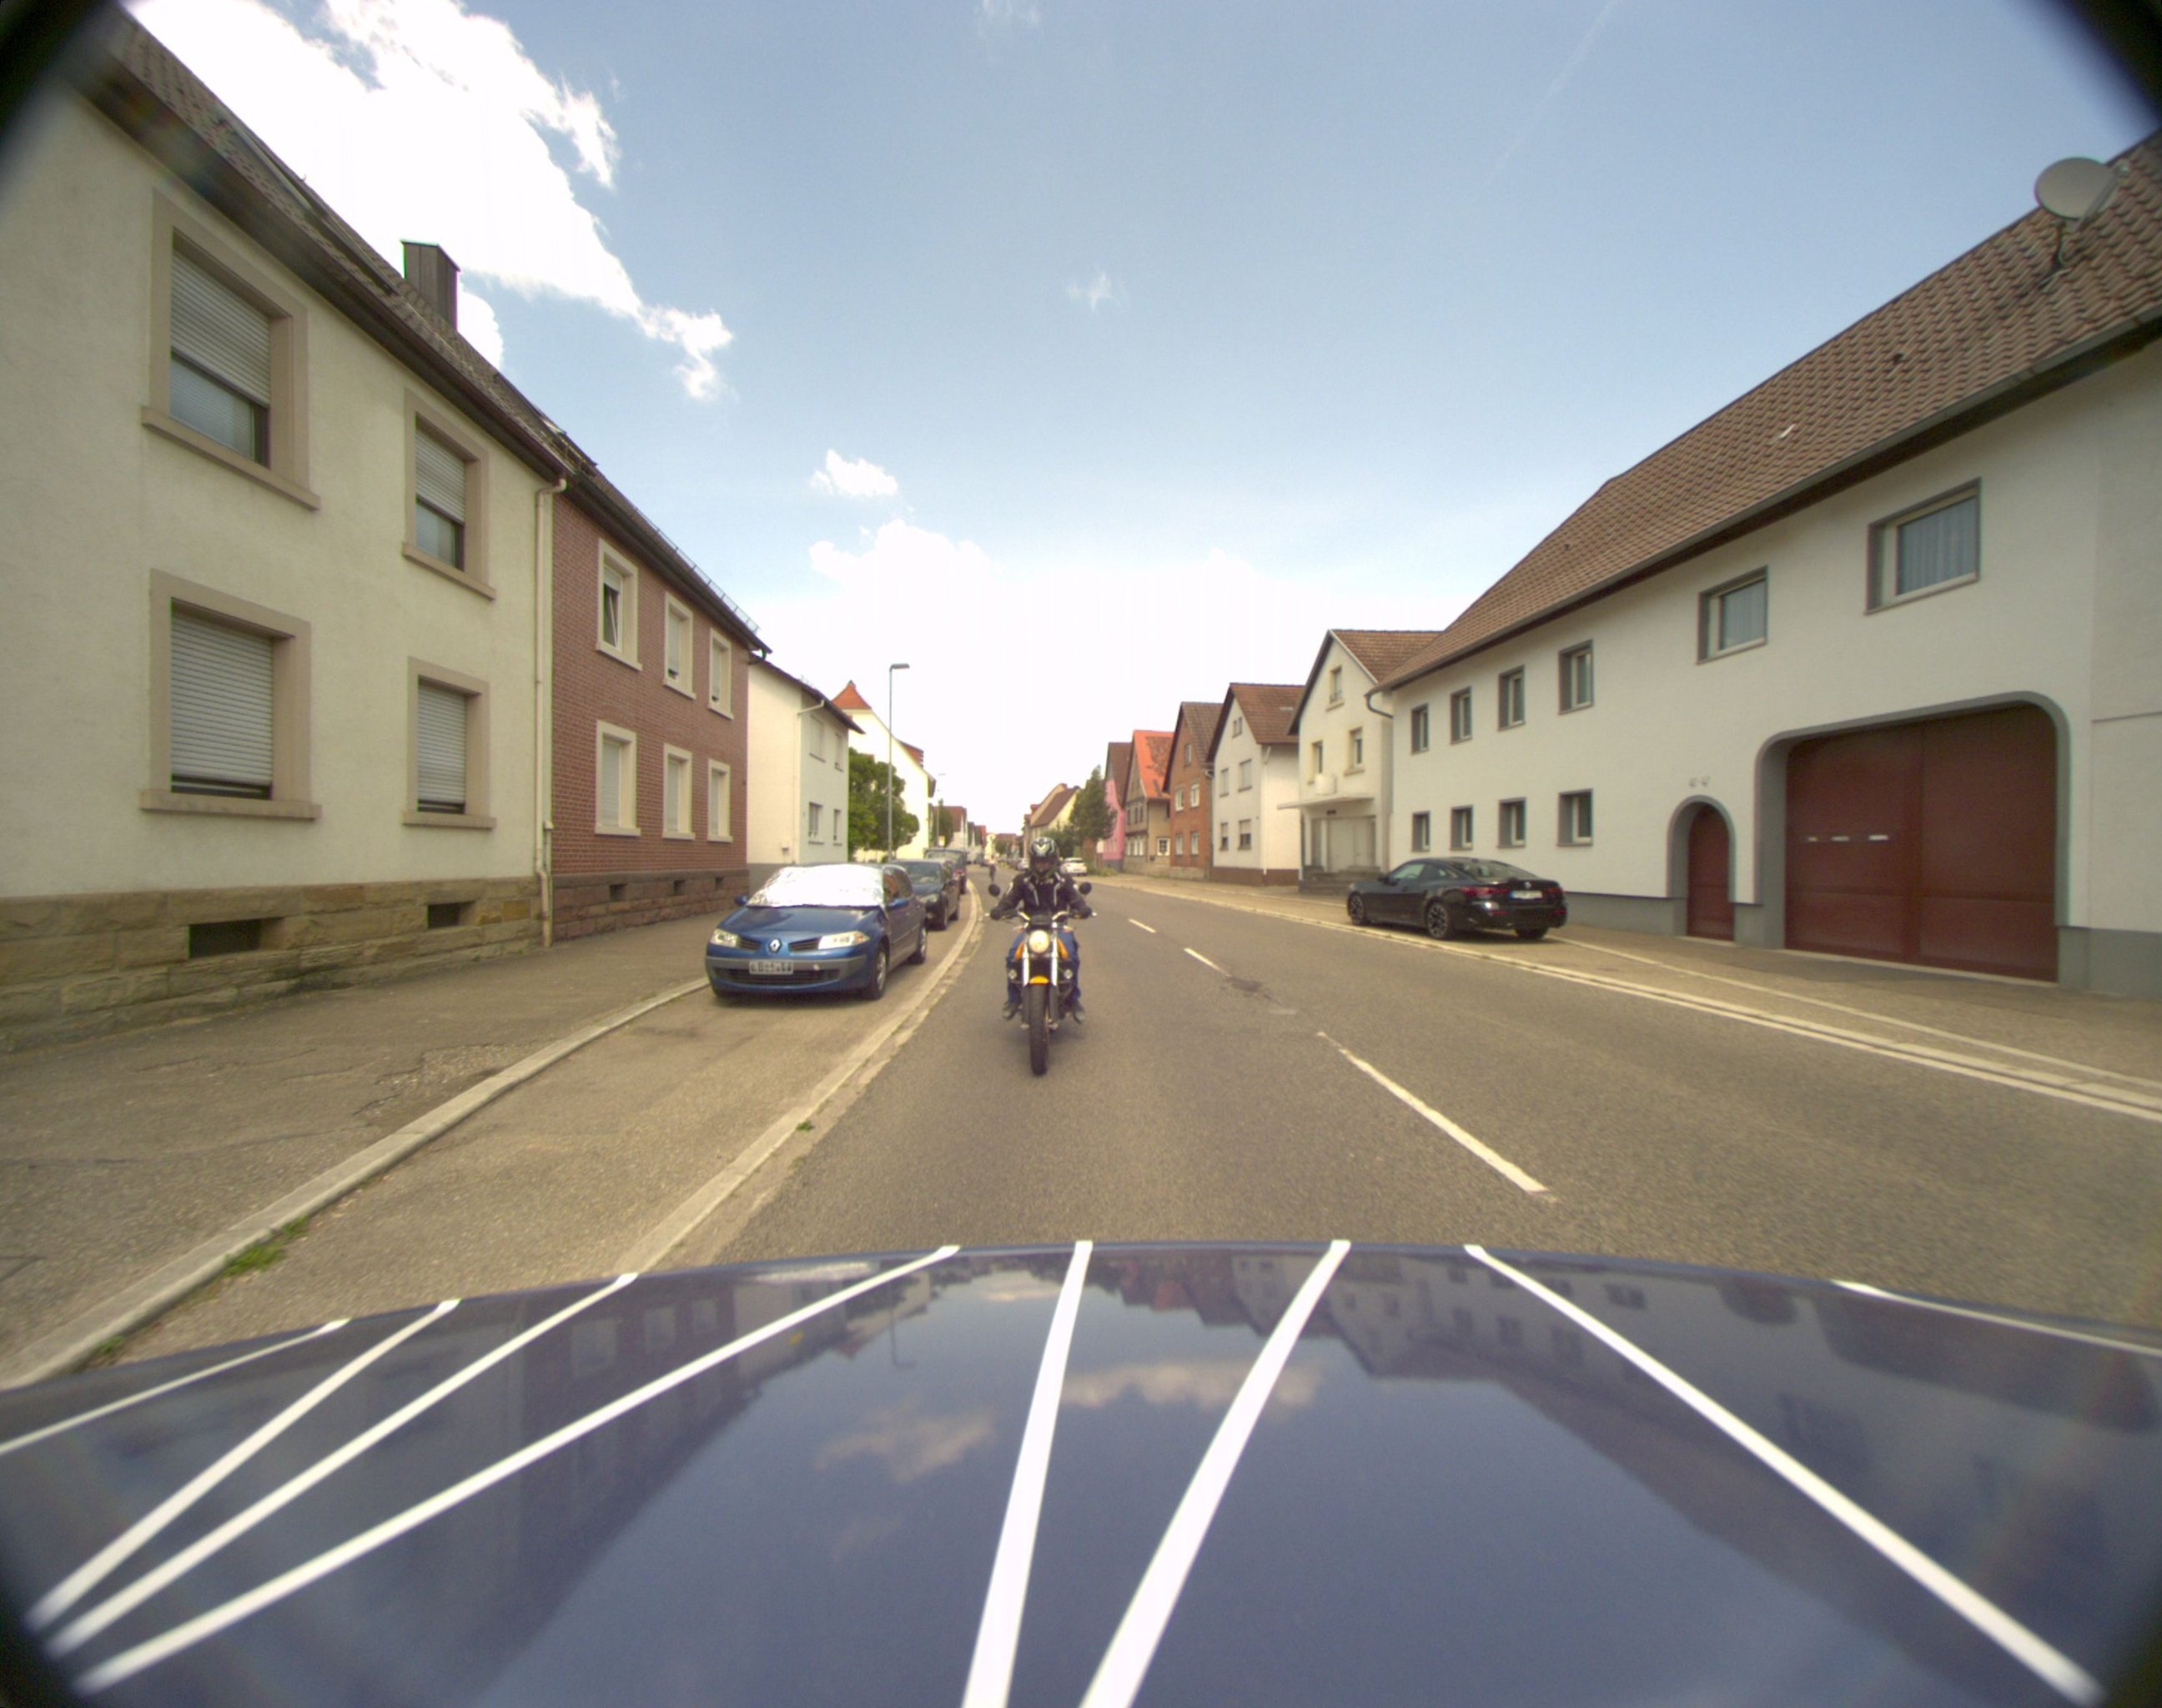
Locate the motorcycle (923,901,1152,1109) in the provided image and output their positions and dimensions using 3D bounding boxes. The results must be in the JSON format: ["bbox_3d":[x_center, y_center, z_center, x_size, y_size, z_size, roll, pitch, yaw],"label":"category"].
[{"bbox_3d":[-0.229,1.063,6.110,0.983,1.233,2.106,-2,-1,22],"label":"motorcycle"}]

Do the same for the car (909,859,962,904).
[{"bbox_3d":[-5.247,0.930,27.794,1.745,1.495,4.554,0,0,-9],"label":"car"}]

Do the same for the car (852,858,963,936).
[{"bbox_3d":[-3.696,0.903,16.821,1.773,1.520,4.000,0,-2,-4],"label":"car"}]

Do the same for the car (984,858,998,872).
[{"bbox_3d":[-14.165,1.773,119.409,1.999,2.002,3.997,-1,1,-5],"label":"car"}]

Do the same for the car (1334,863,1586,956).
[{"bbox_3d":[6.515,0.857,13.802,1.771,1.341,4.753,-1,0,-7],"label":"car"}]

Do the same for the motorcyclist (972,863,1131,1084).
[{"bbox_3d":[-0.216,0.885,6.110,0.998,1.591,0.801,-1,2,22],"label":"motorcyclist"}]

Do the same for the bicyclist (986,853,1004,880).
[{"bbox_3d":[-5.433,0.768,48.095,0.908,1.679,0.761,-1,2,11],"label":"bicyclist"}]

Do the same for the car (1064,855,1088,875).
[{"bbox_3d":[-0.438,0.862,62.157,1.684,1.521,3.496,-1,1,-5],"label":"car"}]

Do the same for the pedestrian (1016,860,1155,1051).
[{"bbox_3d":[0.061,0.856,6.884,0.998,1.565,0.801,-1,2,22],"label":"pedestrian"}]

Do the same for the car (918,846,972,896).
[{"bbox_3d":[-5.781,0.636,32.871,1.931,1.904,5.242,-1,1,-7],"label":"car"}]

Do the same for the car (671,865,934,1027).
[{"bbox_3d":[-3.007,0.897,9.165,1.727,1.378,3.999,0,1,0],"label":"car"}]

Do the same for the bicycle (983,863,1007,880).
[{"bbox_3d":[-5.427,1.110,48.055,0.933,1.005,1.926,-1,-1,10],"label":"bicycle"}]
